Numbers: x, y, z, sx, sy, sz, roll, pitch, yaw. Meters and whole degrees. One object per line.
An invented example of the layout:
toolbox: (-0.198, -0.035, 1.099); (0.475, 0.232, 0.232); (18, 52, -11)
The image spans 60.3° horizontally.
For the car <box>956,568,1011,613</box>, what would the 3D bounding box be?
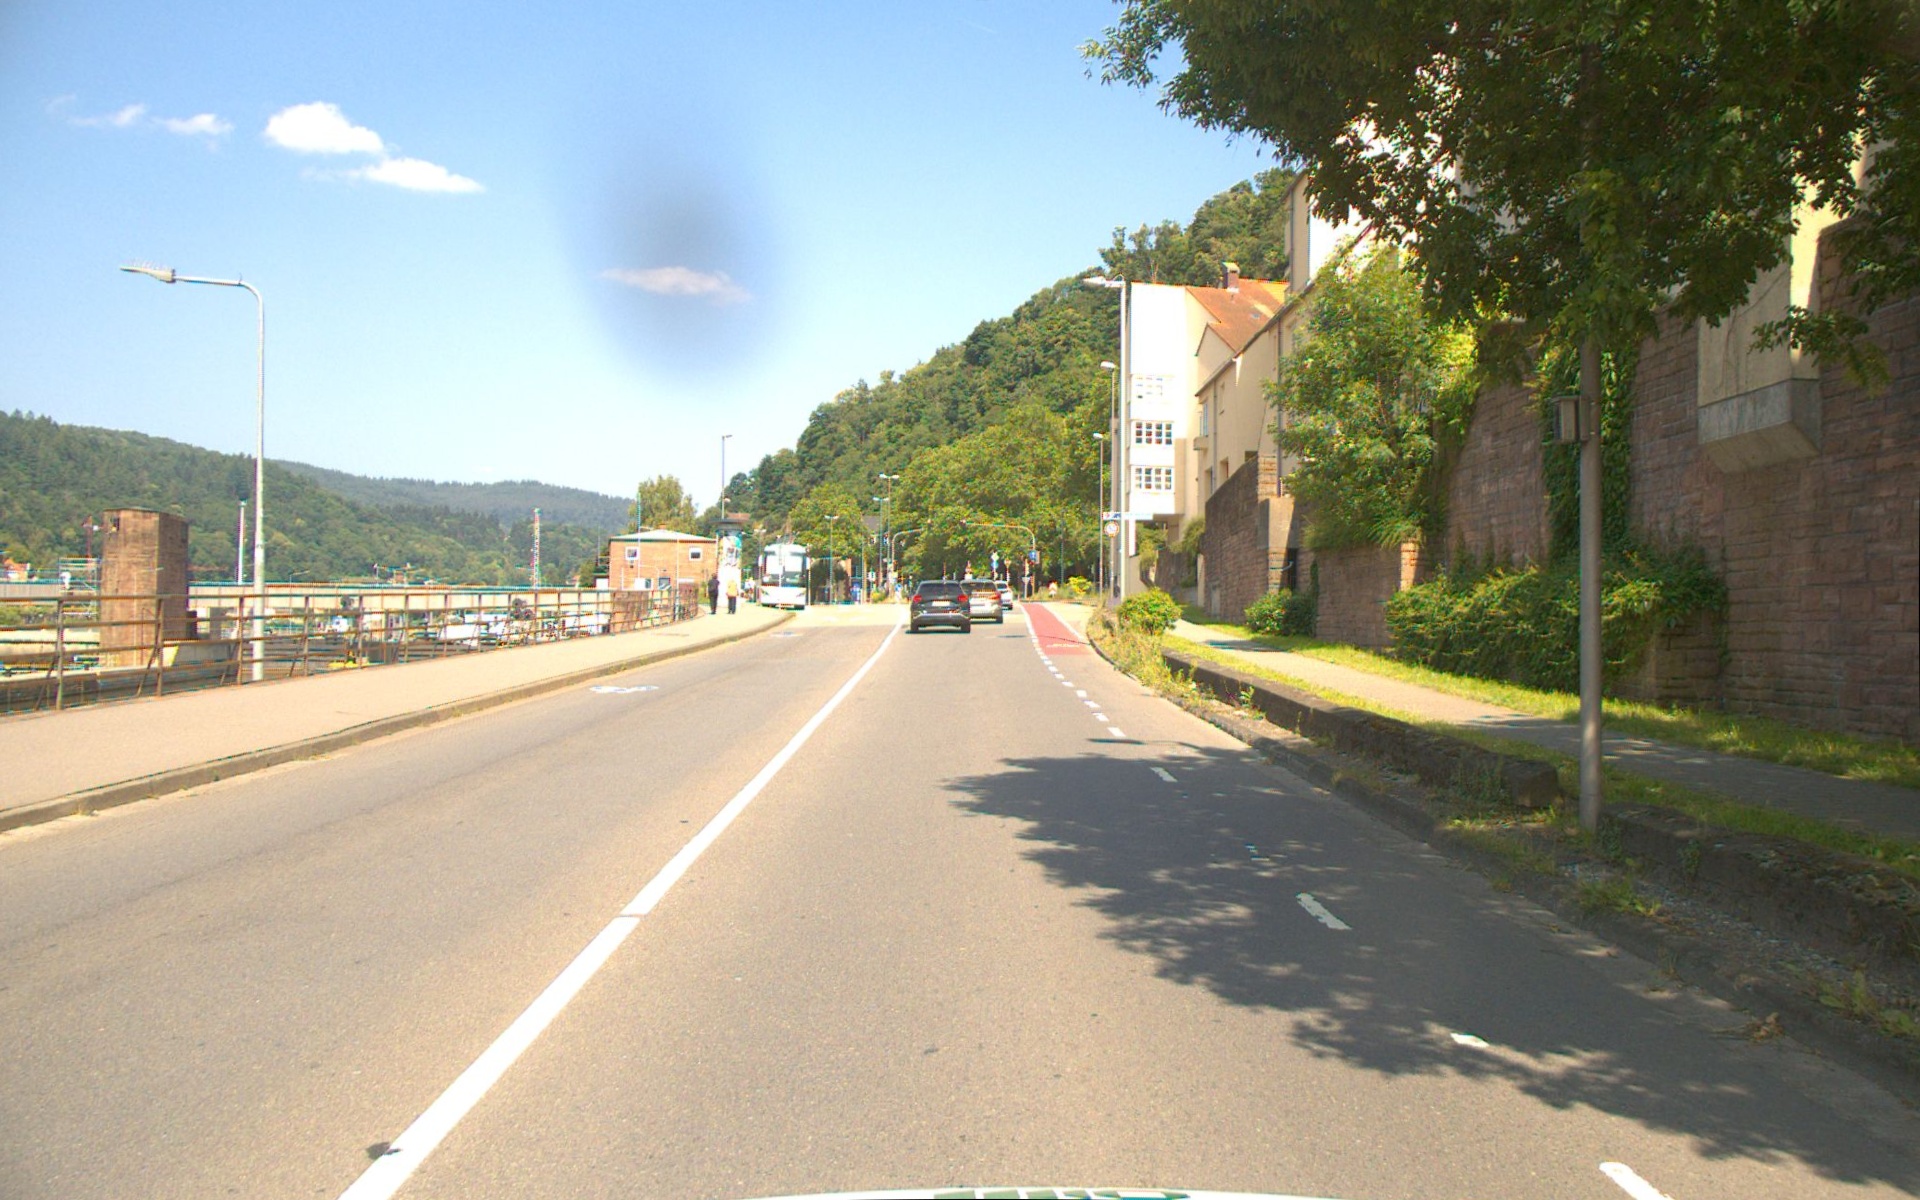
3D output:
car: (0.803, -0.326, 59.211); (1.850, 1.547, 4.305); (0, 0, 0)

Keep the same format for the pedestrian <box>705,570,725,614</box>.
pedestrian: (-9.937, -0.325, 67.081); (0.669, 1.739, 0.773); (0, 0, -1)

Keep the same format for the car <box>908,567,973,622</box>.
car: (-0.557, -0.169, 48.917); (1.831, 1.540, 4.150); (0, 0, 0)

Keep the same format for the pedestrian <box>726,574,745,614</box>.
pedestrian: (-9.394, -0.266, 69.302); (0.688, 1.649, 0.816); (0, 0, -2)

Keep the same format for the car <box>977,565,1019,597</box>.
car: (1.850, -0.926, 82.570); (1.953, 1.560, 4.858); (0, 0, 0)

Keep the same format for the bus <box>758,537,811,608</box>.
bus: (-10.320, -1.535, 97.955); (2.899, 3.867, 13.228); (0, 0, -5)
